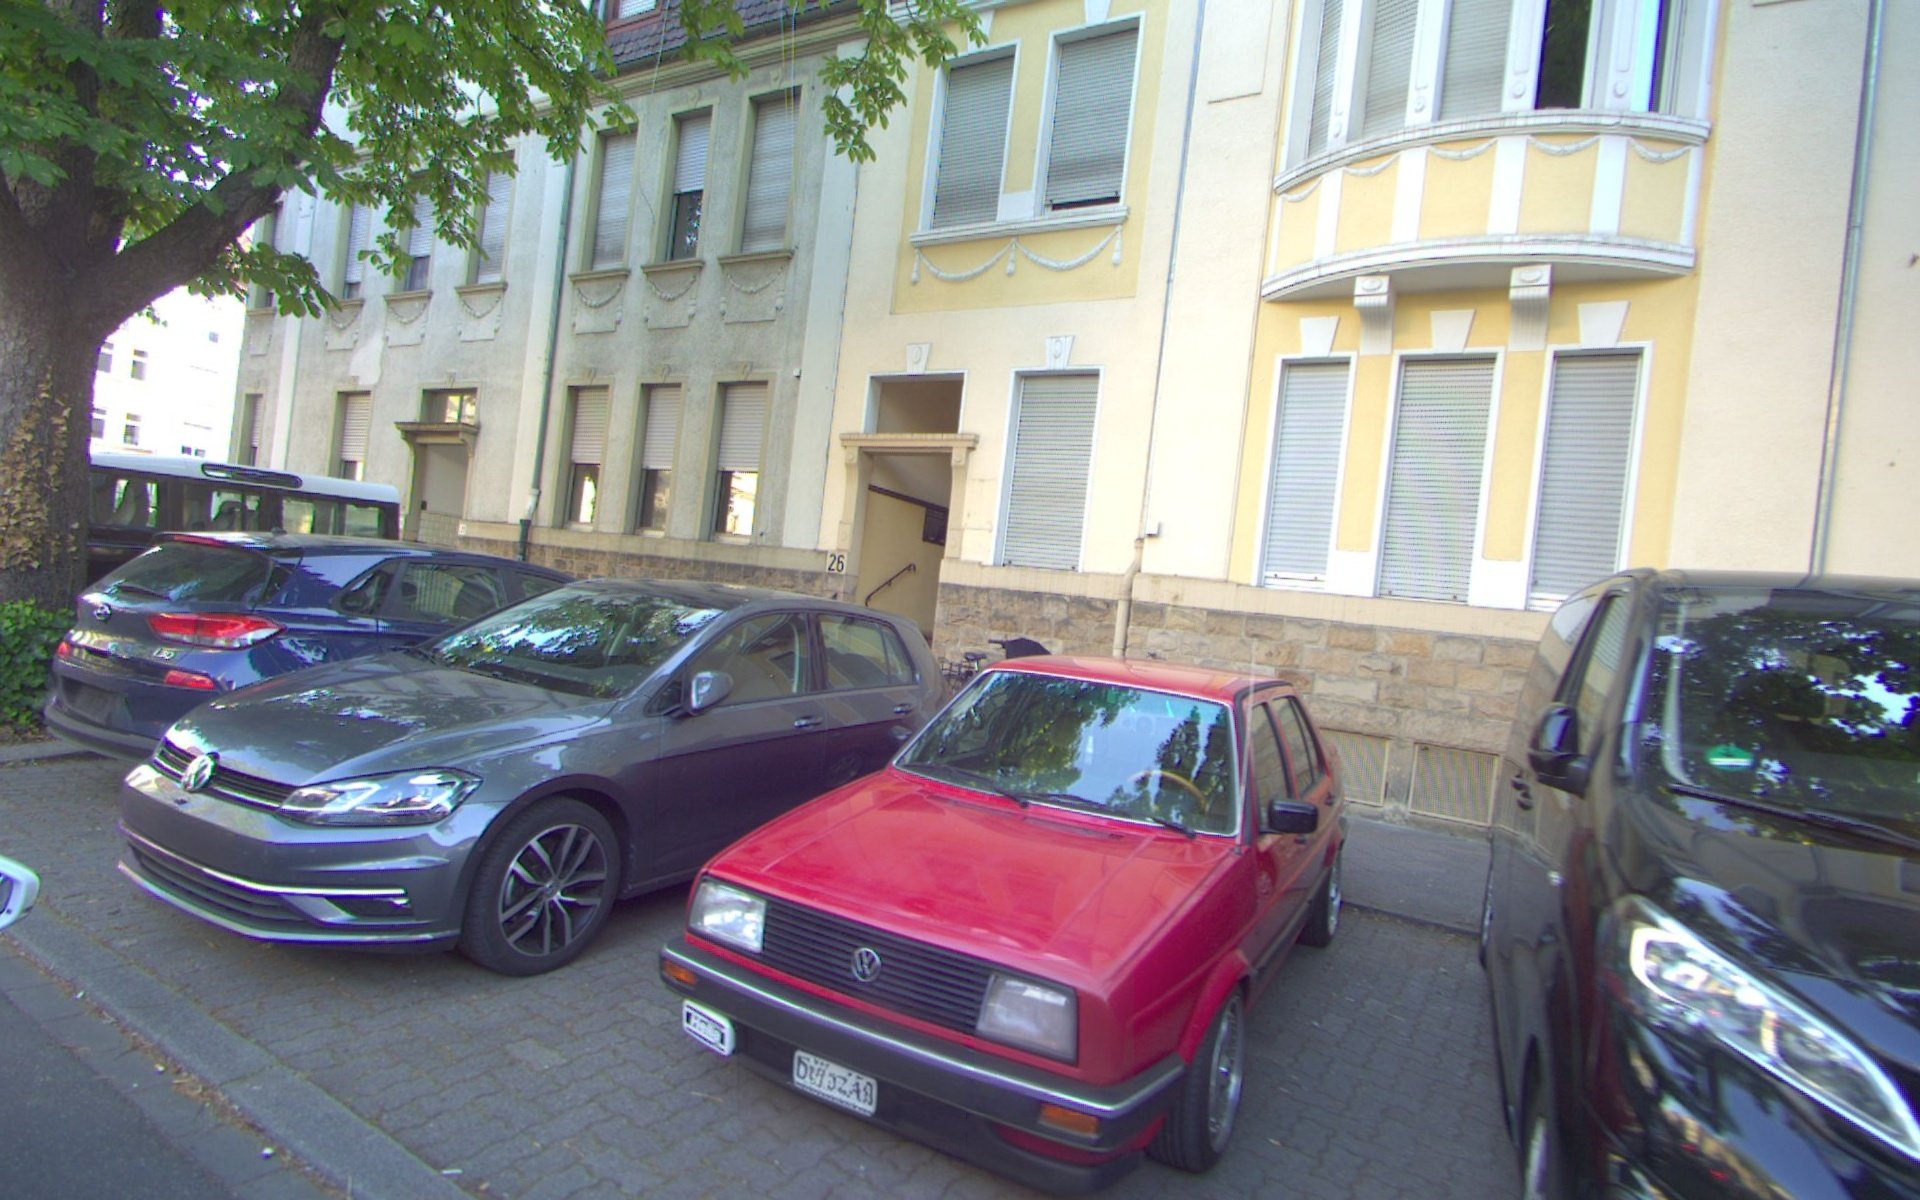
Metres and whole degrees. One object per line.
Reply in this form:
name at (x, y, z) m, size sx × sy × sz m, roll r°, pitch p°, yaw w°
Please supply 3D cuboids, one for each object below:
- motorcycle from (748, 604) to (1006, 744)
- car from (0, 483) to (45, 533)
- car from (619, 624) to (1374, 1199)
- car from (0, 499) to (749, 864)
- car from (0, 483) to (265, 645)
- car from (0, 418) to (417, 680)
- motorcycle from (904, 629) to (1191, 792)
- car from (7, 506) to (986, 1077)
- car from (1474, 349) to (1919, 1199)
motorcycle at (-0.955, 0.743, 10.883) m, size 2.822 × 1.087 × 0.694 m, roll 7°, pitch 2°, yaw 31°
car at (-31.562, -3.116, 31.666) m, size 1.489 × 1.467 × 3.697 m, roll 7°, pitch -1°, yaw 23°
car at (0.710, 0.925, 4.403) m, size 1.601 × 1.332 × 4.144 m, roll 6°, pitch 0°, yaw 27°
car at (-3.252, 0.414, 6.297) m, size 1.679 × 1.470 × 3.730 m, roll 6°, pitch 0°, yaw 28°
car at (-10.152, -0.424, 11.033) m, size 1.679 × 1.589 × 3.730 m, roll 6°, pitch 0°, yaw 28°
car at (-7.757, -0.403, 9.332) m, size 1.671 × 2.061 × 4.473 m, roll 6°, pitch 0°, yaw 28°
motorcycle at (0.790, 0.967, 9.494) m, size 2.439 × 1.087 × 0.959 m, roll 7°, pitch 2°, yaw 32°
car at (-1.597, 0.599, 4.915) m, size 1.693 × 1.470 × 4.060 m, roll 6°, pitch 0°, yaw 28°
car at (2.689, 0.853, 2.981) m, size 1.864 × 1.898 × 4.759 m, roll 6°, pitch 0°, yaw 27°
